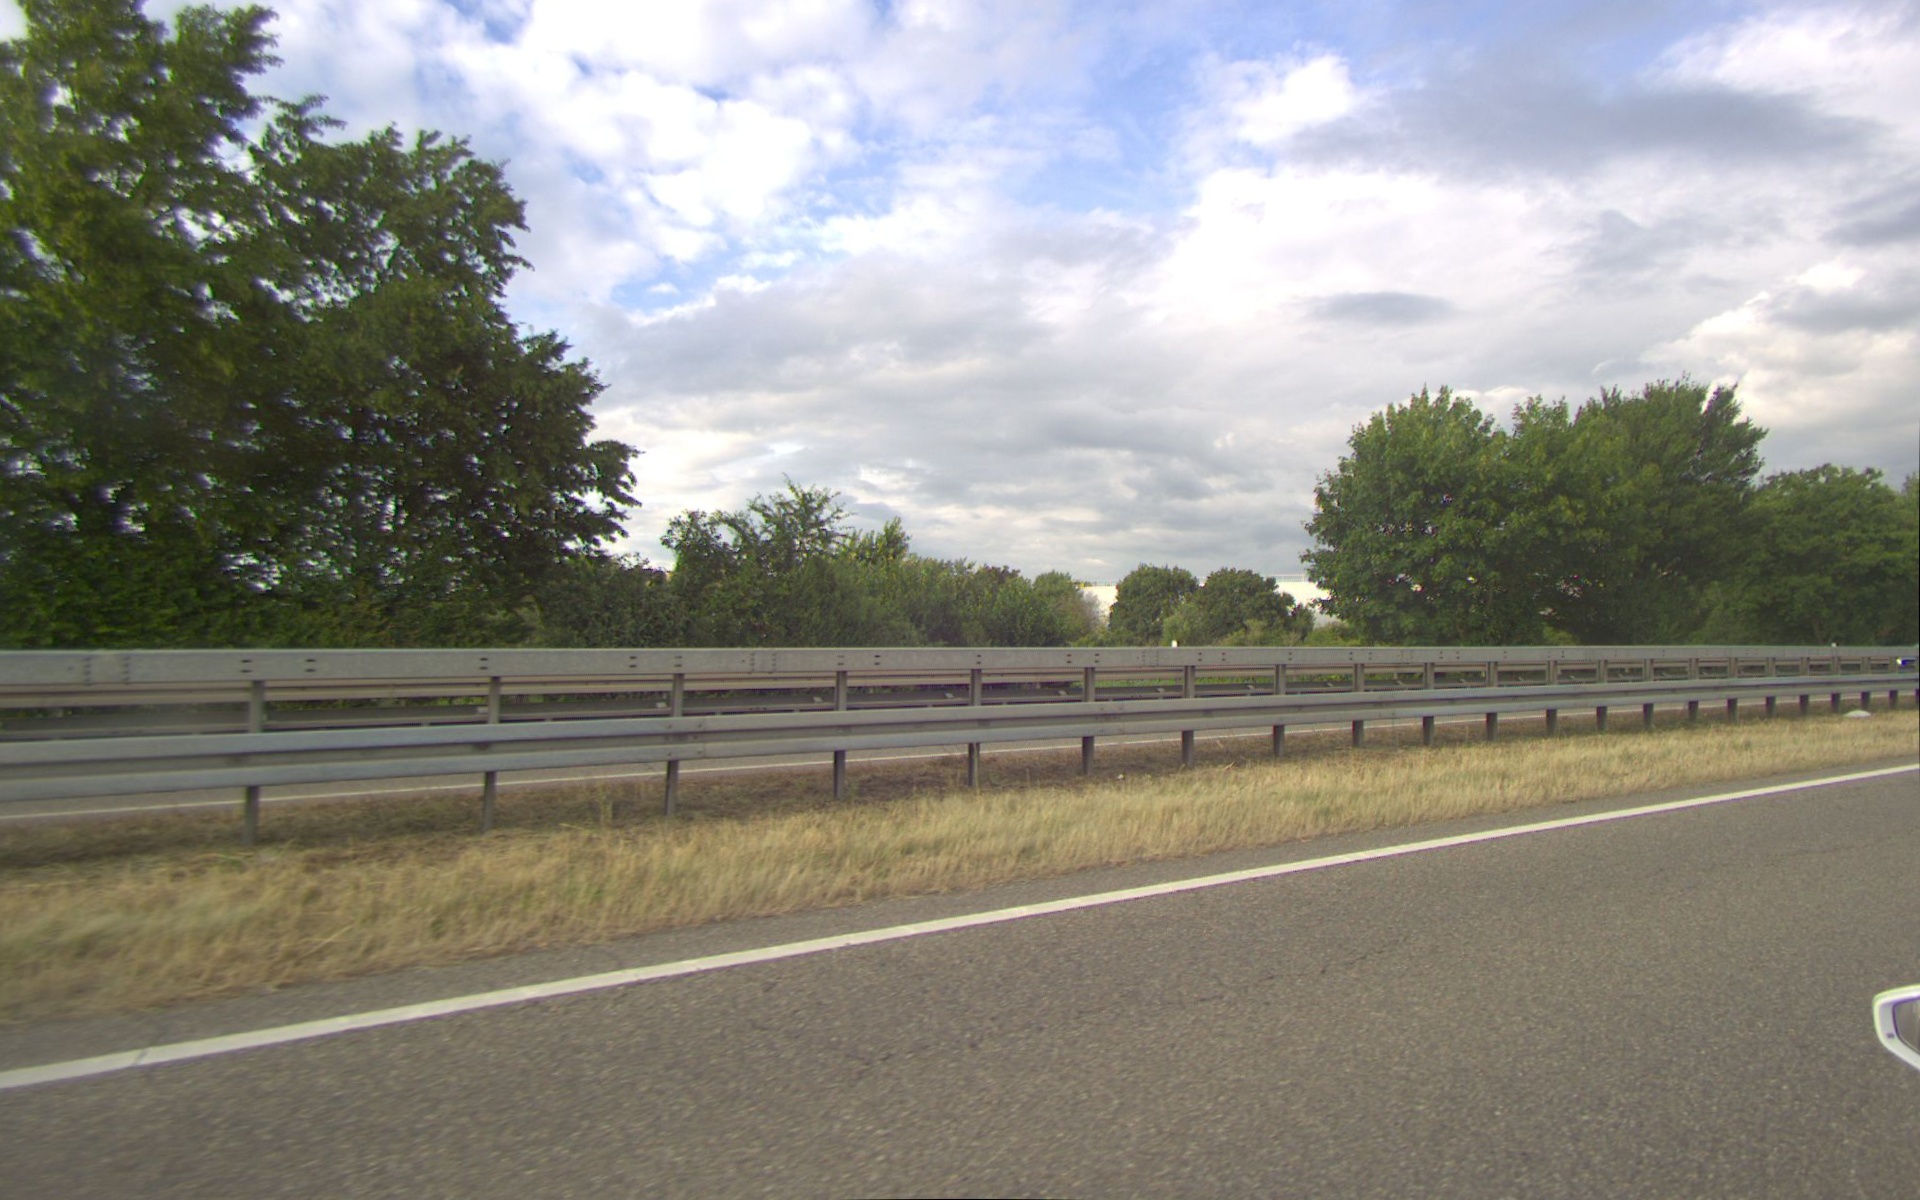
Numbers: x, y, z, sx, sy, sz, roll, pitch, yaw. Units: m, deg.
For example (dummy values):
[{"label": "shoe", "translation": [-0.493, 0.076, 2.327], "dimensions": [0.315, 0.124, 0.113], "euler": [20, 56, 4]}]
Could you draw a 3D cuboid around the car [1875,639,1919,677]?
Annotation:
[{"label": "car", "translation": [36.652, 2.159, 37.979], "dimensions": [4.523, 1.369, 1.773], "euler": [1, -2, -30]}]
